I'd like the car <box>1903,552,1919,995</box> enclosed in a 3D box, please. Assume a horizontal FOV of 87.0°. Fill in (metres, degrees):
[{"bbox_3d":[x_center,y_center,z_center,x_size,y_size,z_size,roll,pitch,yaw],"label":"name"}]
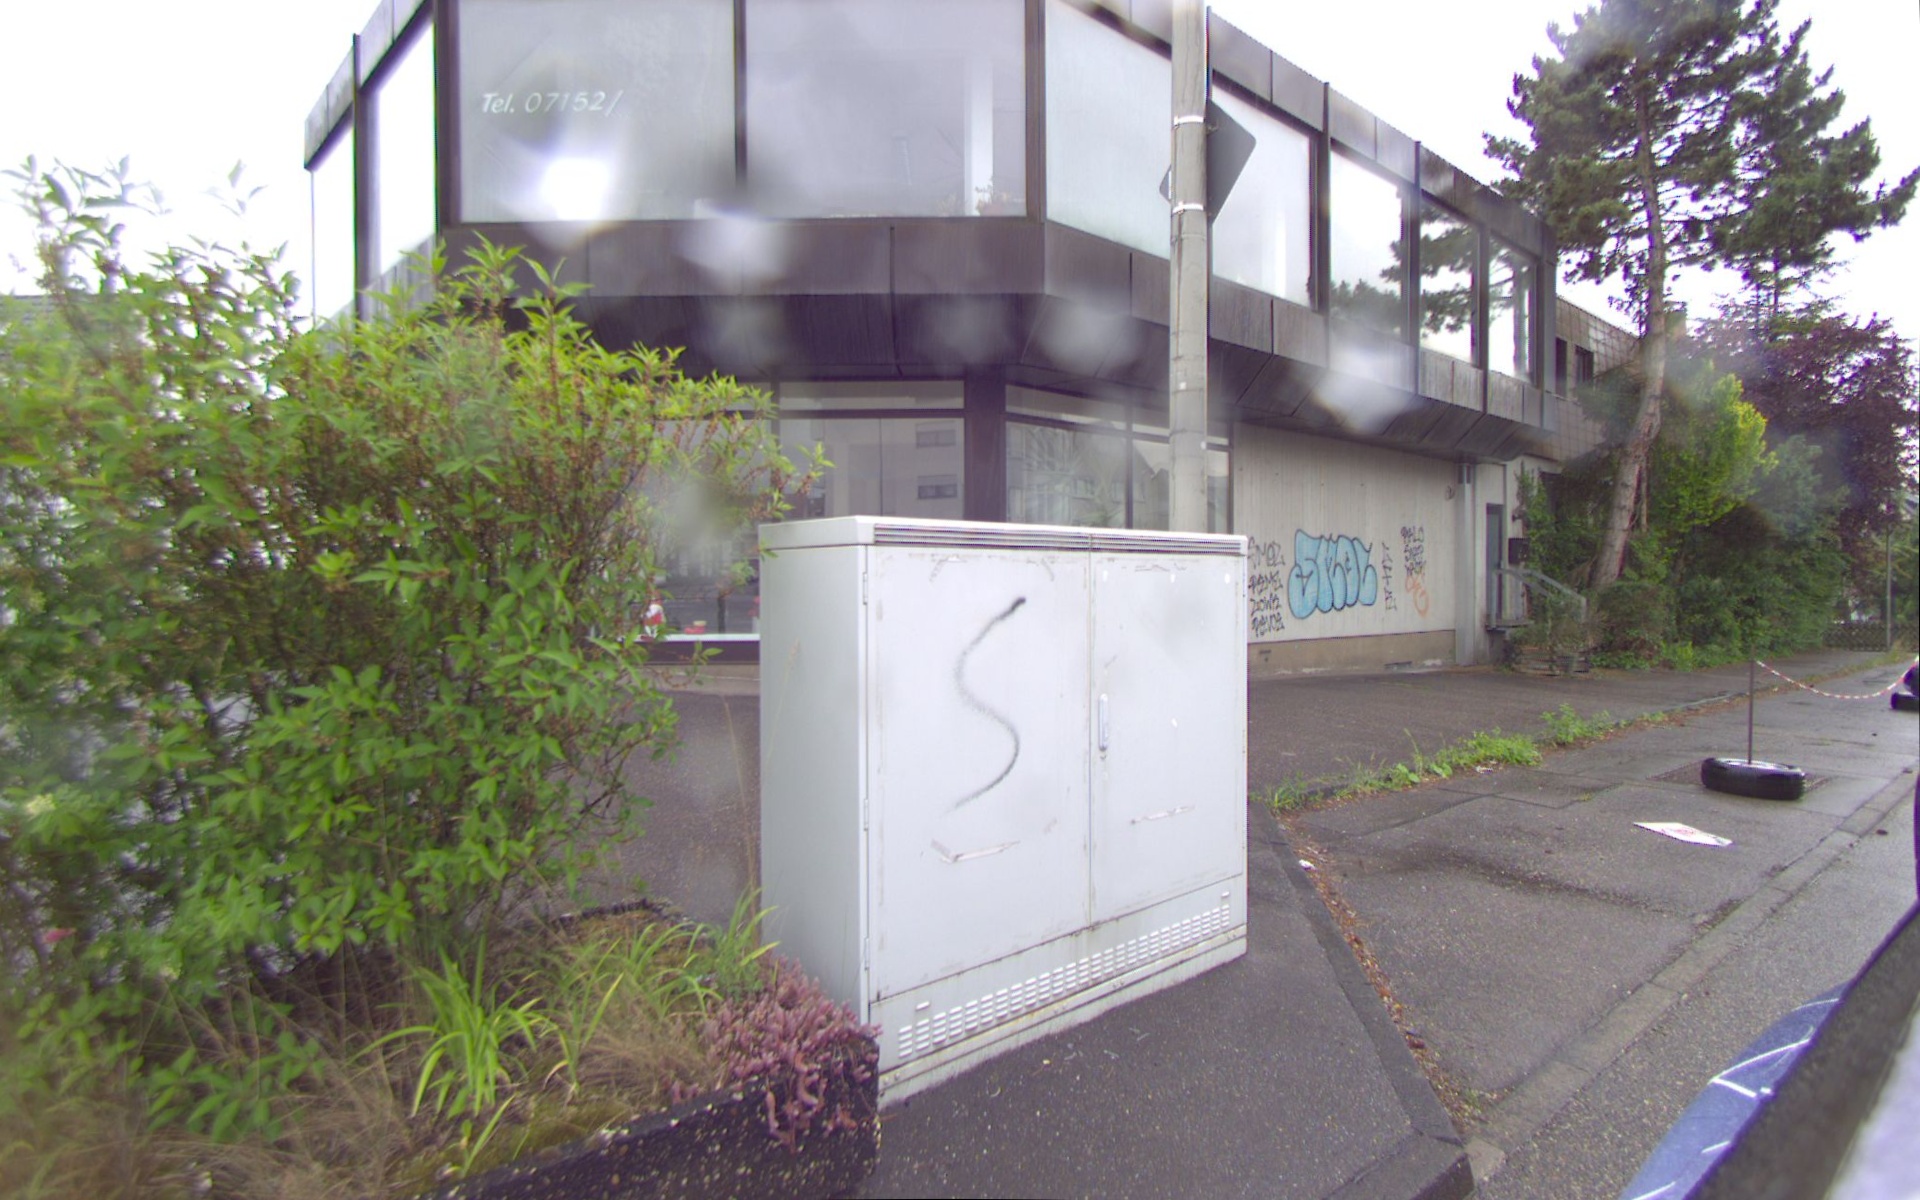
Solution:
[{"bbox_3d":[5.658,0.608,4.430,4.595,1.562,1.753,-1,1,-41],"label":"car"}]
